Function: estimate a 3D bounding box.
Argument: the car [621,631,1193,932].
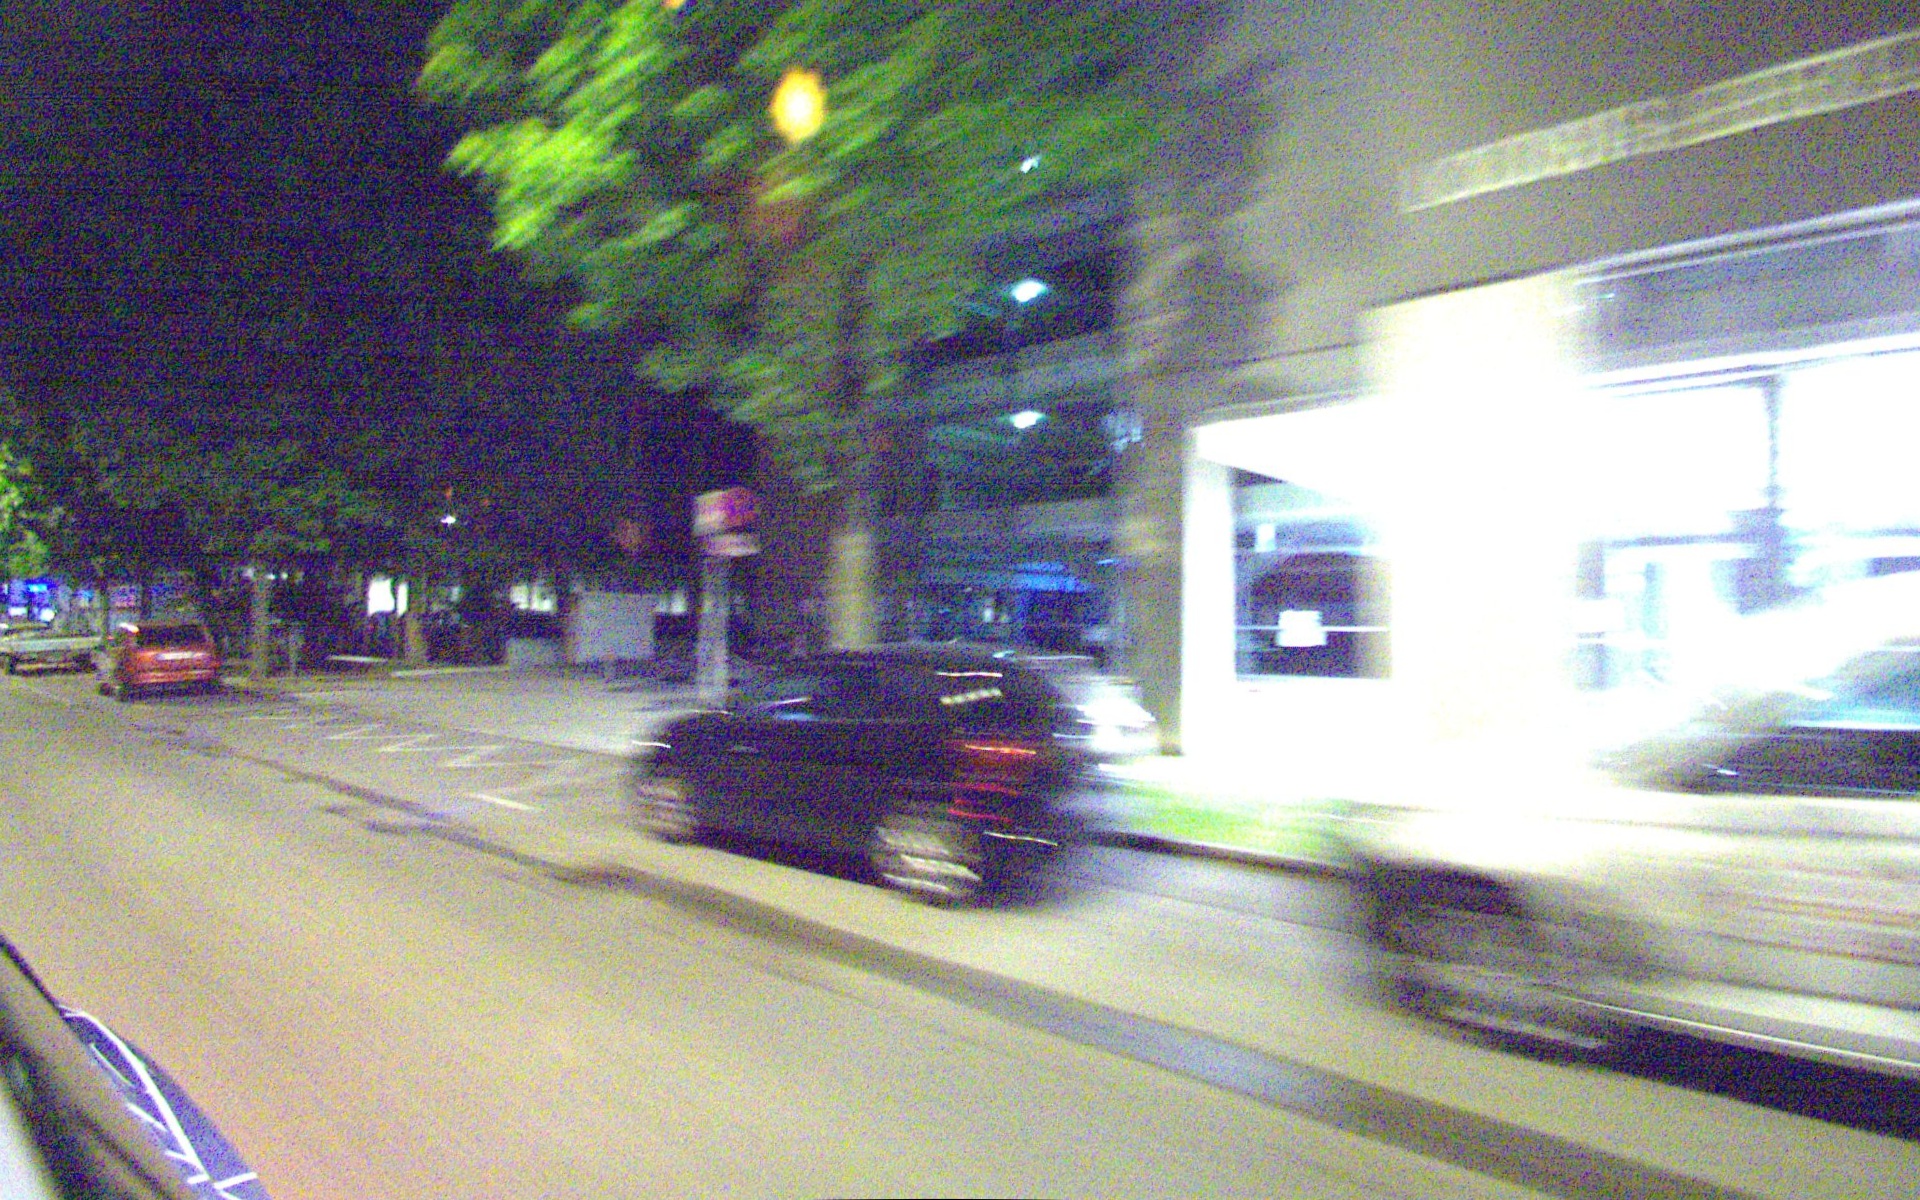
[{"bbox_3d":[-0.533,0.974,7.002,3.825,1.444,1.683,-1,0,40],"label":"car"}]

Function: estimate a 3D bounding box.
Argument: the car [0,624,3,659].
[{"bbox_3d":[-46.605,1.941,47.683,4.112,1.619,1.724,-1,-2,40],"label":"car"}]

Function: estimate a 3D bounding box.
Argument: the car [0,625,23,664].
[{"bbox_3d":[-42.291,1.920,43.995,4.294,1.619,1.724,-1,-2,39],"label":"car"}]

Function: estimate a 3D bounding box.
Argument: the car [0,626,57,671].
[{"bbox_3d":[-34.557,1.737,37.019,4.202,1.513,1.699,-1,1,41],"label":"car"}]

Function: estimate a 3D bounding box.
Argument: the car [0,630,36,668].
[{"bbox_3d":[-38.319,1.940,40.345,4.631,1.422,1.687,-1,-1,41],"label":"car"}]

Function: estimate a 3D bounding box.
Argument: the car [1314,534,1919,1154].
[{"bbox_3d":[3.636,0.680,3.420,4.209,1.825,1.803,-2,1,43],"label":"car"}]

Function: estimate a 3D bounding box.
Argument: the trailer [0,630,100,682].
[{"bbox_3d":[-28.667,1.688,31.590,5.434,1.345,2.088,-1,1,43],"label":"trailer"}]

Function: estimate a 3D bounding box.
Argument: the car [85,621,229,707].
[{"bbox_3d":[-17.214,1.291,21.628,4.072,1.611,1.803,-1,-1,43],"label":"car"}]
